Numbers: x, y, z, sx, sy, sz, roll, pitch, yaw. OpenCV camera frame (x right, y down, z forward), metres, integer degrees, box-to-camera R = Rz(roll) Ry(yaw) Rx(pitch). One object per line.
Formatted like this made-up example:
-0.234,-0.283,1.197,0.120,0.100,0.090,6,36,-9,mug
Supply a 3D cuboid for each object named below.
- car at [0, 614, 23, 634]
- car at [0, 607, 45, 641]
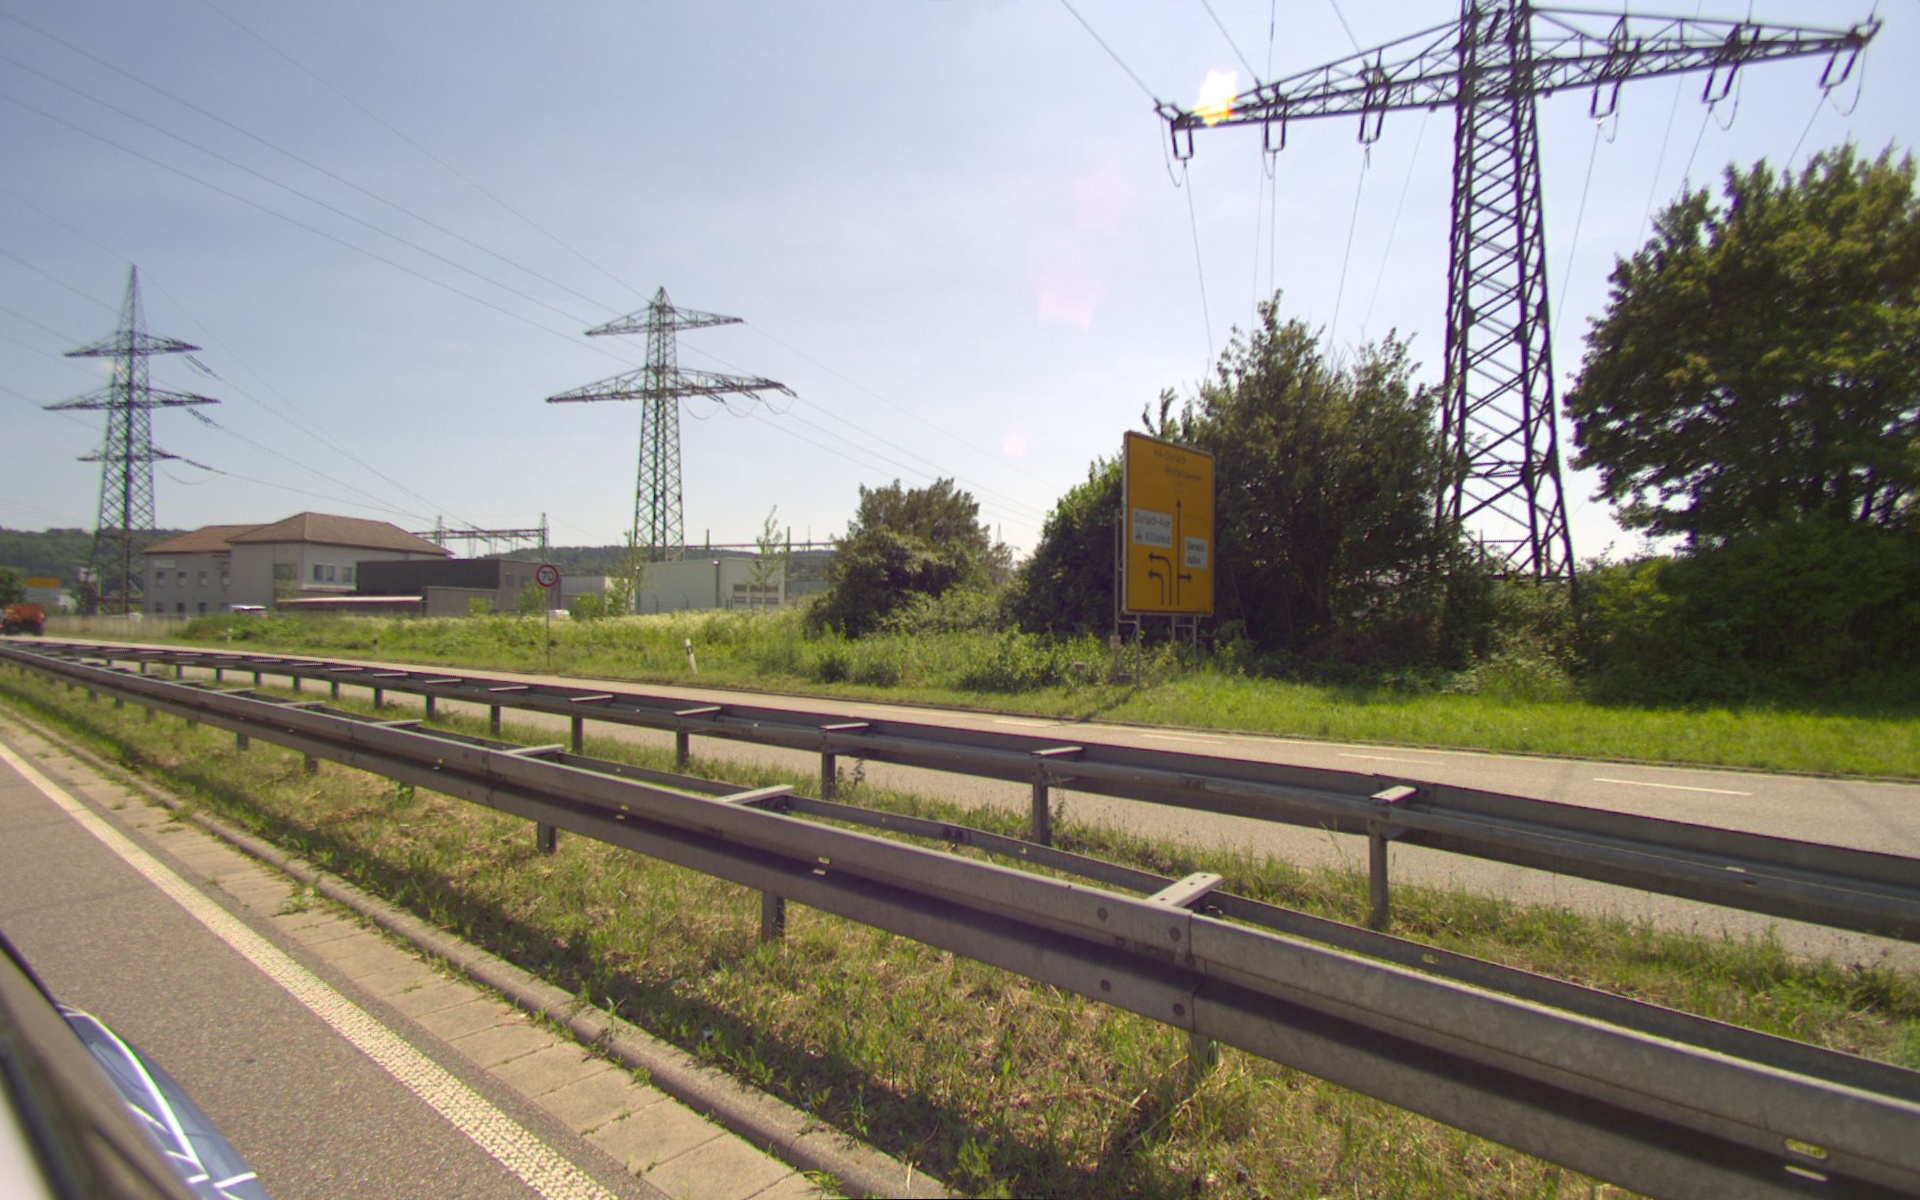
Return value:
-97.462,2.462,103.398,3.994,1.929,1.975,0,0,38,car
-90.116,2.310,97.212,5.636,3.084,2.573,-1,-2,41,car
